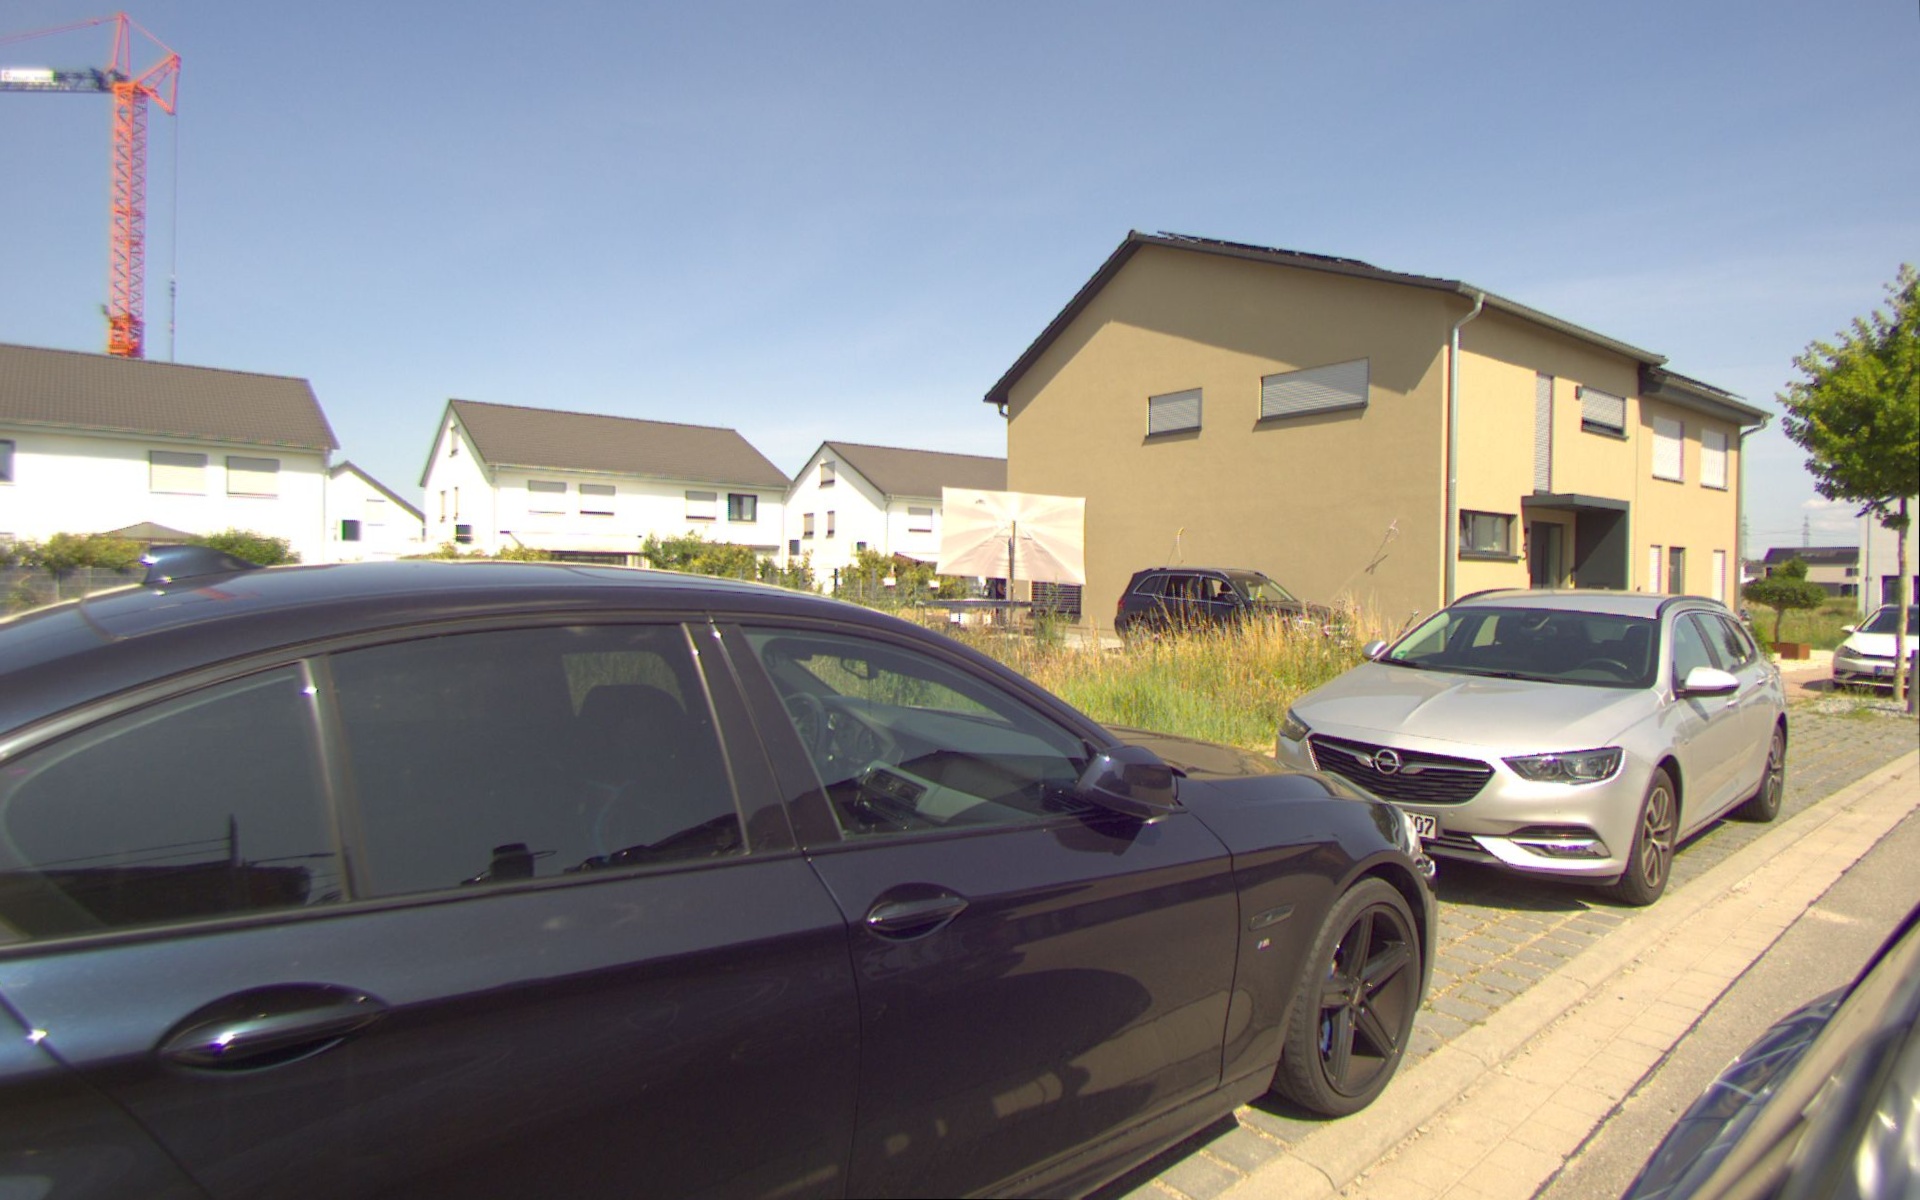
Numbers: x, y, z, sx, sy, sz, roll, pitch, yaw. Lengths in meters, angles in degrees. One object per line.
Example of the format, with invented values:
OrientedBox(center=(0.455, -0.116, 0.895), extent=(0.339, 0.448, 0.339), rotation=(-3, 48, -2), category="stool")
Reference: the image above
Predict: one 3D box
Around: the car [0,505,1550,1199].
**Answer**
OrientedBox(center=(-0.605, 0.615, 2.533), extent=(5.047, 1.488, 1.923), rotation=(1, 2, -39), category="car")

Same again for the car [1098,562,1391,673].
OrientedBox(center=(4.876, 0.182, 17.975), extent=(1.964, 1.664, 4.758), rotation=(-1, 3, -39), category="car")

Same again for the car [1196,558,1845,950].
OrientedBox(center=(3.885, 0.601, 6.457), extent=(5.202, 1.530, 1.922), rotation=(1, 2, -41), category="car")

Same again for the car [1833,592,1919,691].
OrientedBox(center=(15.978, 0.654, 16.484), extent=(4.431, 1.443, 1.785), rotation=(1, 2, -38), category="car")

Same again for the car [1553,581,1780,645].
OrientedBox(center=(20.059, 0.300, 28.983), extent=(1.962, 1.443, 4.907), rotation=(0, 3, -34), category="car")
